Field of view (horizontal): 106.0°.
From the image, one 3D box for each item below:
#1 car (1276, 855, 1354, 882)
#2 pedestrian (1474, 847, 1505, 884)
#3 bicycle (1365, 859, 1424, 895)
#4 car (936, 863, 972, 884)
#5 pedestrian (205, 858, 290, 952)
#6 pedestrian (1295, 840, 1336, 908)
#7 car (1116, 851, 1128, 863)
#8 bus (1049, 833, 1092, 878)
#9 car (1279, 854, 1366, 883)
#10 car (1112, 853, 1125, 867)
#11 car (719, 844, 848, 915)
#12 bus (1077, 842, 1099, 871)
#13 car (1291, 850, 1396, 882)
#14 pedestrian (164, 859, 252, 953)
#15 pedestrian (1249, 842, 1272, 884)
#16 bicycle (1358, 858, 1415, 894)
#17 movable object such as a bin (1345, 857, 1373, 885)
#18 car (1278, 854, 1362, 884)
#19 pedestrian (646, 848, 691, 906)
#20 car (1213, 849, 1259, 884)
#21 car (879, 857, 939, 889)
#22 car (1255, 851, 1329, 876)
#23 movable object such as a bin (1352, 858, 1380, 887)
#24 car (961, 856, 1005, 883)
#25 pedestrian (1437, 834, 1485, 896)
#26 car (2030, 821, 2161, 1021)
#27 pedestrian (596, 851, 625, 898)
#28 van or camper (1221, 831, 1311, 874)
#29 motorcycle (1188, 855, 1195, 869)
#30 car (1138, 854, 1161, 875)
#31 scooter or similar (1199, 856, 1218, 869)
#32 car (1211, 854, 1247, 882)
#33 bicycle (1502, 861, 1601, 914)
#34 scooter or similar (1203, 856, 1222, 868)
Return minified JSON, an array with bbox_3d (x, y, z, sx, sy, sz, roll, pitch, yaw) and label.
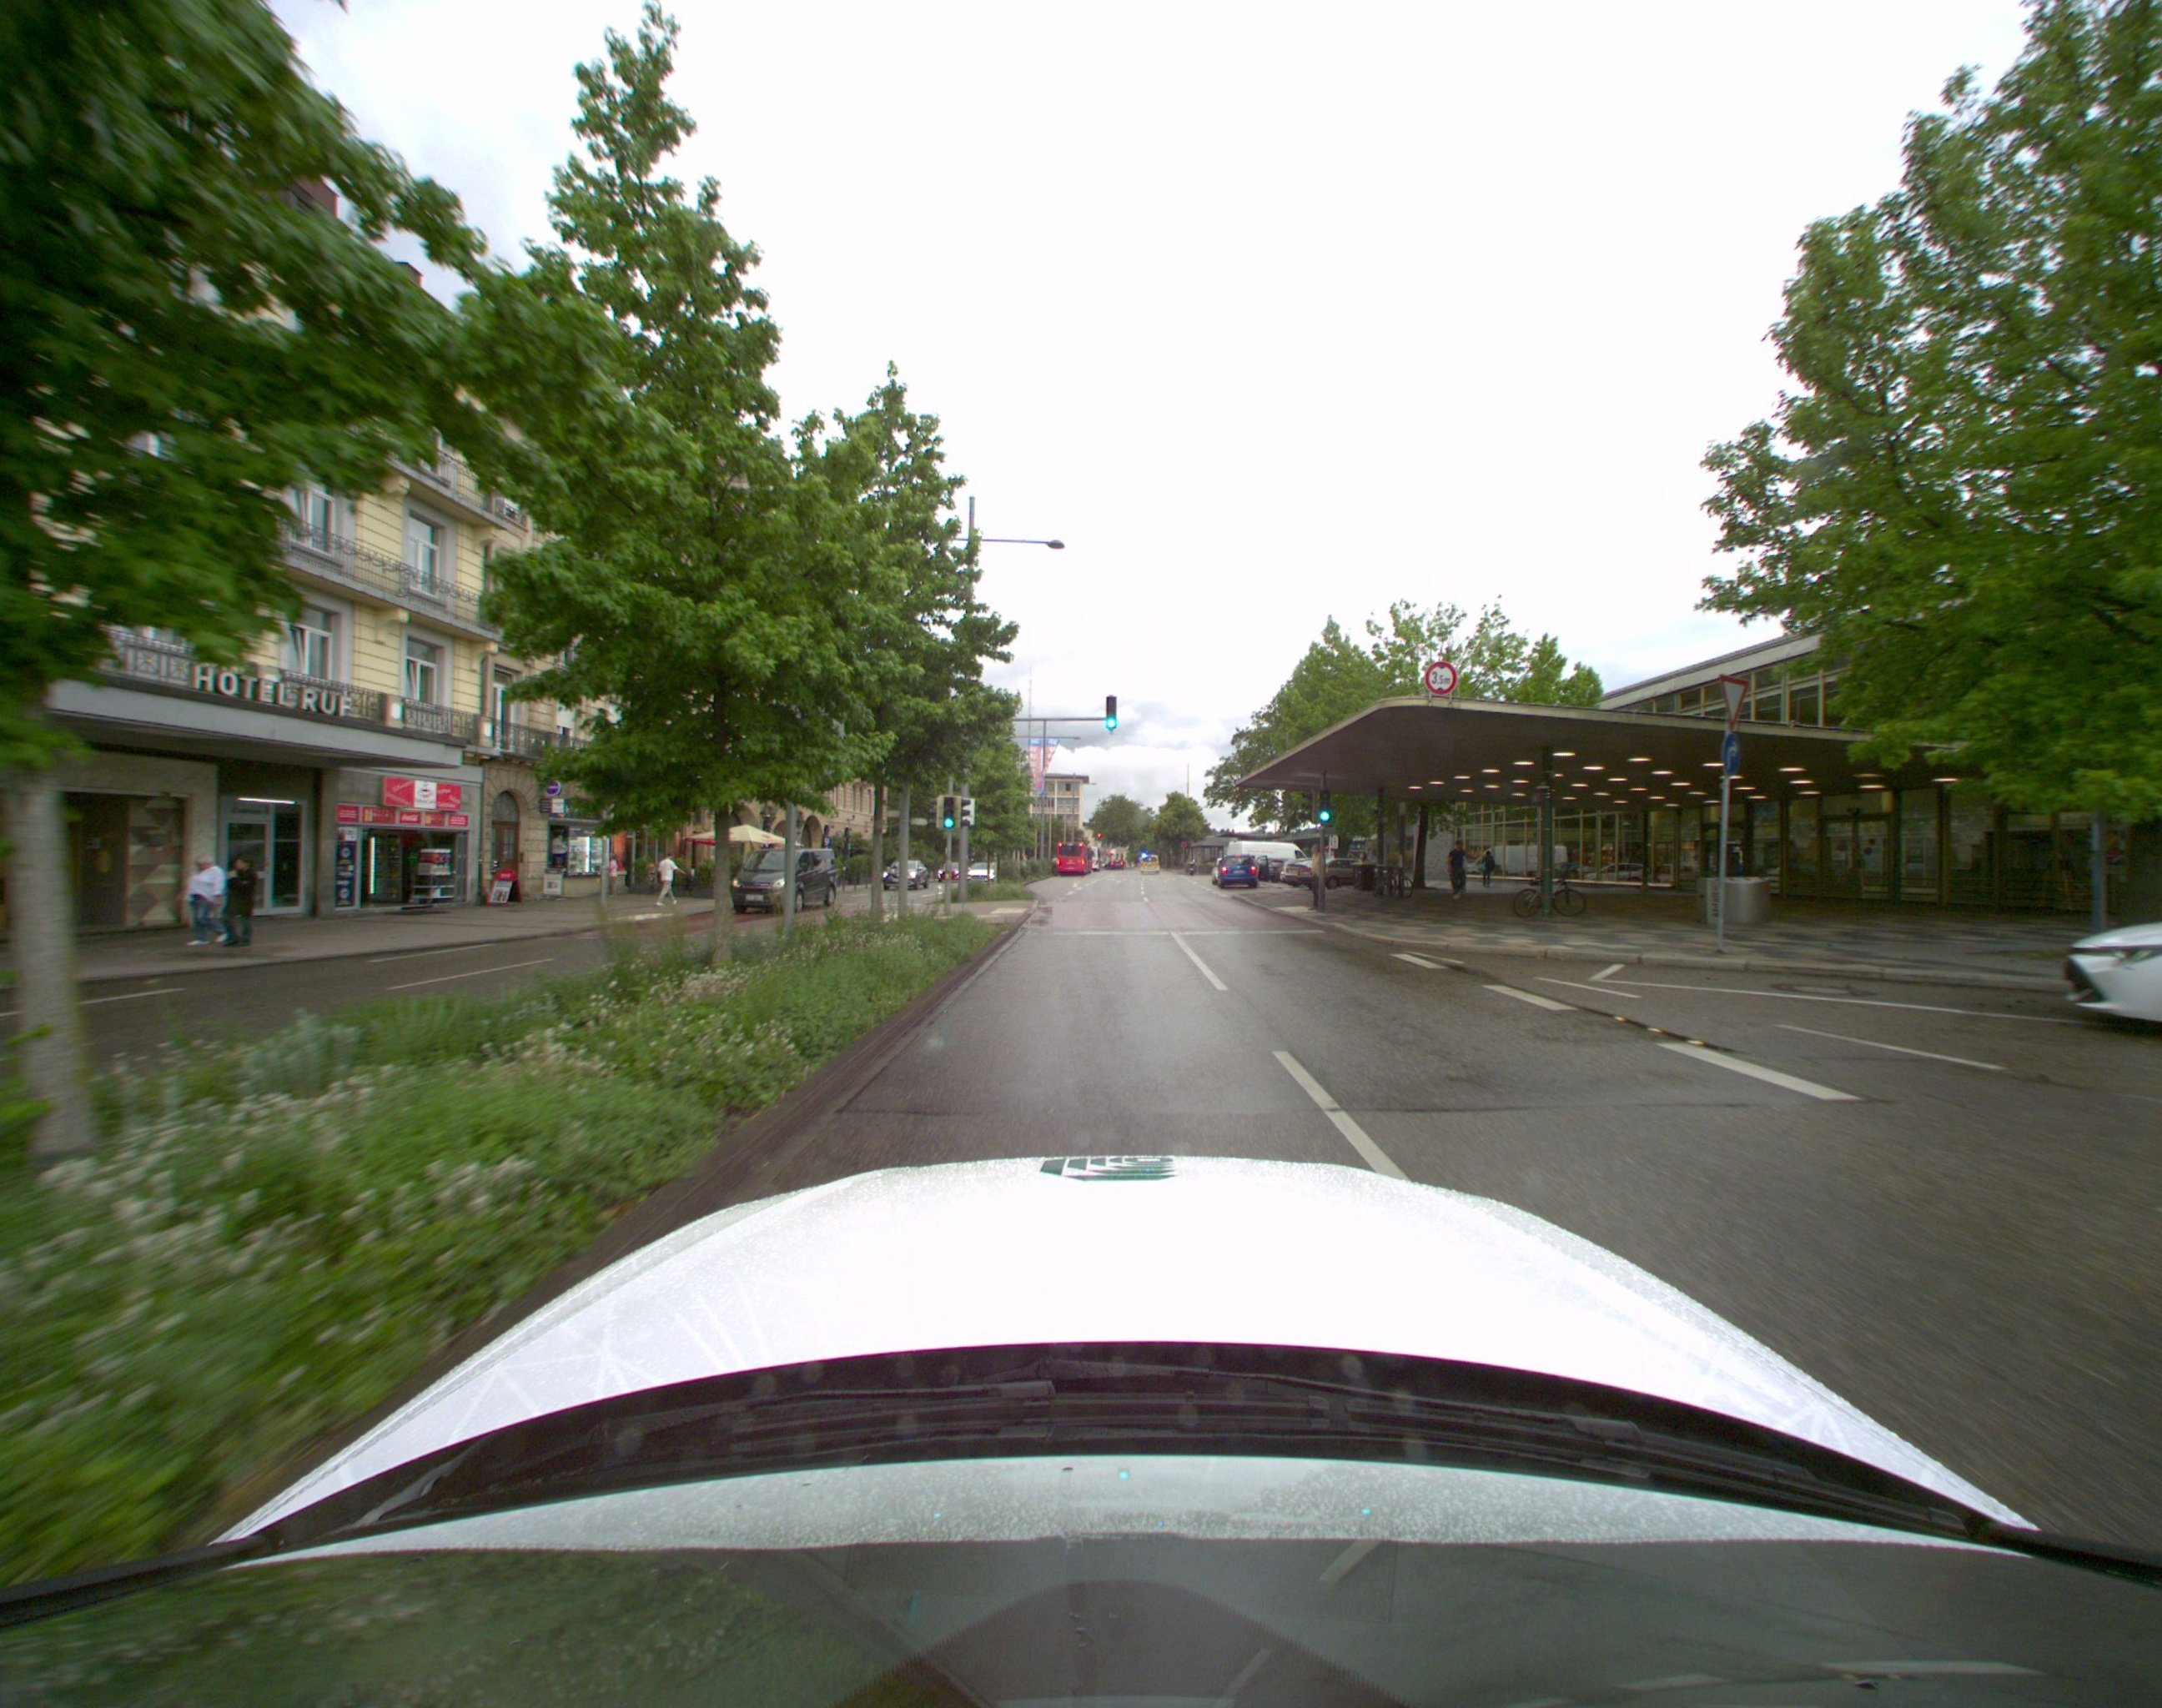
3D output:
[{"bbox_3d":[13.206,0.794,45.952,4.006,1.443,1.849,-1,-1,-25],"label":"car"},{"bbox_3d":[17.748,0.487,35.413,0.863,1.559,0.813,-2,-1,-5],"label":"pedestrian"},{"bbox_3d":[9.927,0.714,25.751,1.831,1.056,0.418,-2,-1,-17],"label":"bicycle"},{"bbox_3d":[-9.189,1.384,59.176,1.740,1.430,3.955,-2,0,2],"label":"car"},{"bbox_3d":[-15.327,0.913,14.990,0.679,1.663,0.807,-2,-1,2],"label":"pedestrian"},{"bbox_3d":[6.233,0.521,21.641,0.745,1.747,0.834,-1,-1,-6],"label":"pedestrian"},{"bbox_3d":[7.103,0.550,142.953,1.986,2.013,4.002,-2,0,2],"label":"car"},{"bbox_3d":[-0.909,0.157,80.805,3.531,3.979,11.176,-2,0,2],"label":"bus"},{"bbox_3d":[11.910,0.702,40.166,4.011,1.359,1.847,-1,-1,-29],"label":"car"},{"bbox_3d":[5.850,0.947,127.482,1.986,2.013,4.002,-2,0,2],"label":"car"},{"bbox_3d":[-9.438,0.764,26.364,1.985,2.013,5.006,-2,0,4],"label":"car"},{"bbox_3d":[0.972,0.363,108.351,2.796,3.747,10.444,0,0,0],"label":"bus"},{"bbox_3d":[11.752,0.528,36.504,4.197,1.325,1.829,-1,-1,-18],"label":"car"},{"bbox_3d":[-15.986,0.931,14.930,0.678,1.663,0.808,-2,-1,5],"label":"pedestrian"},{"bbox_3d":[8.813,0.464,40.083,0.829,2.014,0.888,-2,-1,-3],"label":"pedestrian"},{"bbox_3d":[9.831,0.707,26.202,1.831,1.056,0.418,-2,-1,-17],"label":"bicycle"},{"bbox_3d":[11.179,0.677,32.772,0.751,1.095,0.746,-2,-1,-10],"label":"movable object such as a bin"},{"bbox_3d":[12.555,0.767,42.820,4.006,1.443,1.849,-1,-1,-25],"label":"car"},{"bbox_3d":[-13.834,0.762,27.312,0.876,1.812,0.751,-8,-1,1],"label":"pedestrian"},{"bbox_3d":[7.517,0.616,39.726,1.849,1.569,4.006,-1,-1,6],"label":"car"},{"bbox_3d":[-9.160,0.960,43.807,1.986,1.543,4.635,-2,0,2],"label":"car"},{"bbox_3d":[12.628,0.567,48.705,4.006,1.443,1.849,-1,-1,-25],"label":"car"},{"bbox_3d":[11.074,0.717,31.674,0.750,1.067,0.747,-2,-1,-7],"label":"movable object such as a bin"},{"bbox_3d":[-6.090,0.967,51.302,1.986,1.543,4.635,-2,0,2],"label":"car"},{"bbox_3d":[11.552,0.341,24.793,0.853,1.835,1.190,-2,-1,2],"label":"pedestrian"},{"bbox_3d":[10.118,0.470,5.498,1.772,1.546,4.722,-1,-1,-38],"label":"car"},{"bbox_3d":[-17.134,0.733,29.675,0.666,1.664,0.535,2,-1,-7],"label":"pedestrian"},{"bbox_3d":[12.953,-0.120,56.959,5.977,2.763,2.180,-2,-1,-25],"label":"van or camper"},{"bbox_3d":[10.007,0.727,73.922,0.592,1.288,1.958,-2,0,8],"label":"motorcycle"},{"bbox_3d":[6.940,1.010,83.319,1.986,2.013,5.063,-2,0,2],"label":"car"},{"bbox_3d":[11.988,0.778,76.591,2.161,1.110,0.423,-2,0,-38],"label":"scooter or similar"},{"bbox_3d":[8.249,0.772,45.666,1.778,1.523,3.688,-1,-1,7],"label":"car"},{"bbox_3d":[10.018,0.712,17.376,1.821,1.056,0.420,-2,-1,1],"label":"bicycle"},{"bbox_3d":[12.316,0.760,76.216,2.161,1.110,0.438,-2,0,-38],"label":"scooter or similar"}]
